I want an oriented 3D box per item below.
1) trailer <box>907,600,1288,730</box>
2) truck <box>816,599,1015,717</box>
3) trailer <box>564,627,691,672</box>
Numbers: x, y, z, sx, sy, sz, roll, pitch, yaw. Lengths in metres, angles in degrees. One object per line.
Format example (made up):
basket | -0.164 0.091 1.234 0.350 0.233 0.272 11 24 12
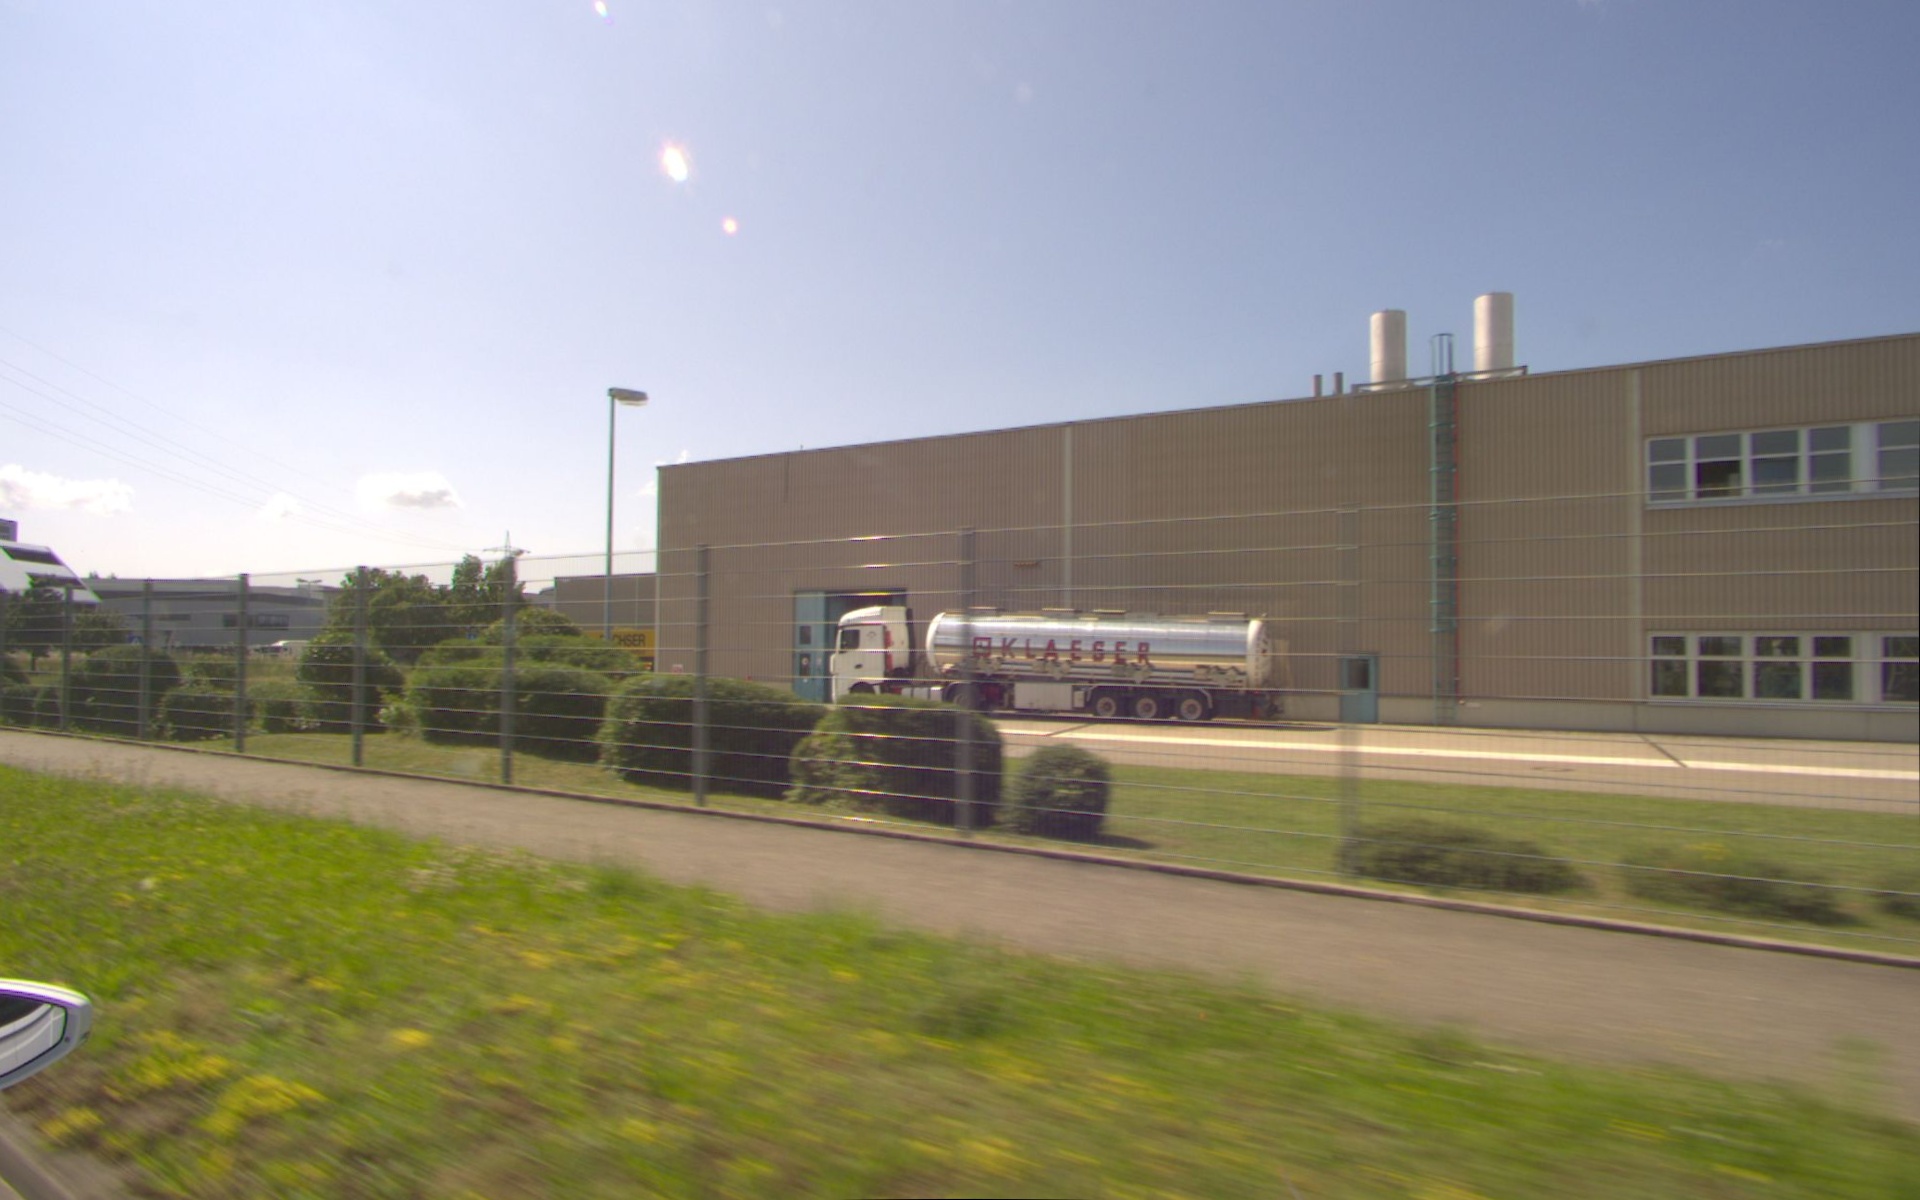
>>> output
trailer | 4.389 2.005 33.305 12.040 3.783 3.591 -1 -2 26
truck | -1.573 2.004 36.239 6.302 3.916 3.596 -1 -1 24
trailer | -29.834 4.362 89.534 12.556 3.812 2.918 -1 -3 28
